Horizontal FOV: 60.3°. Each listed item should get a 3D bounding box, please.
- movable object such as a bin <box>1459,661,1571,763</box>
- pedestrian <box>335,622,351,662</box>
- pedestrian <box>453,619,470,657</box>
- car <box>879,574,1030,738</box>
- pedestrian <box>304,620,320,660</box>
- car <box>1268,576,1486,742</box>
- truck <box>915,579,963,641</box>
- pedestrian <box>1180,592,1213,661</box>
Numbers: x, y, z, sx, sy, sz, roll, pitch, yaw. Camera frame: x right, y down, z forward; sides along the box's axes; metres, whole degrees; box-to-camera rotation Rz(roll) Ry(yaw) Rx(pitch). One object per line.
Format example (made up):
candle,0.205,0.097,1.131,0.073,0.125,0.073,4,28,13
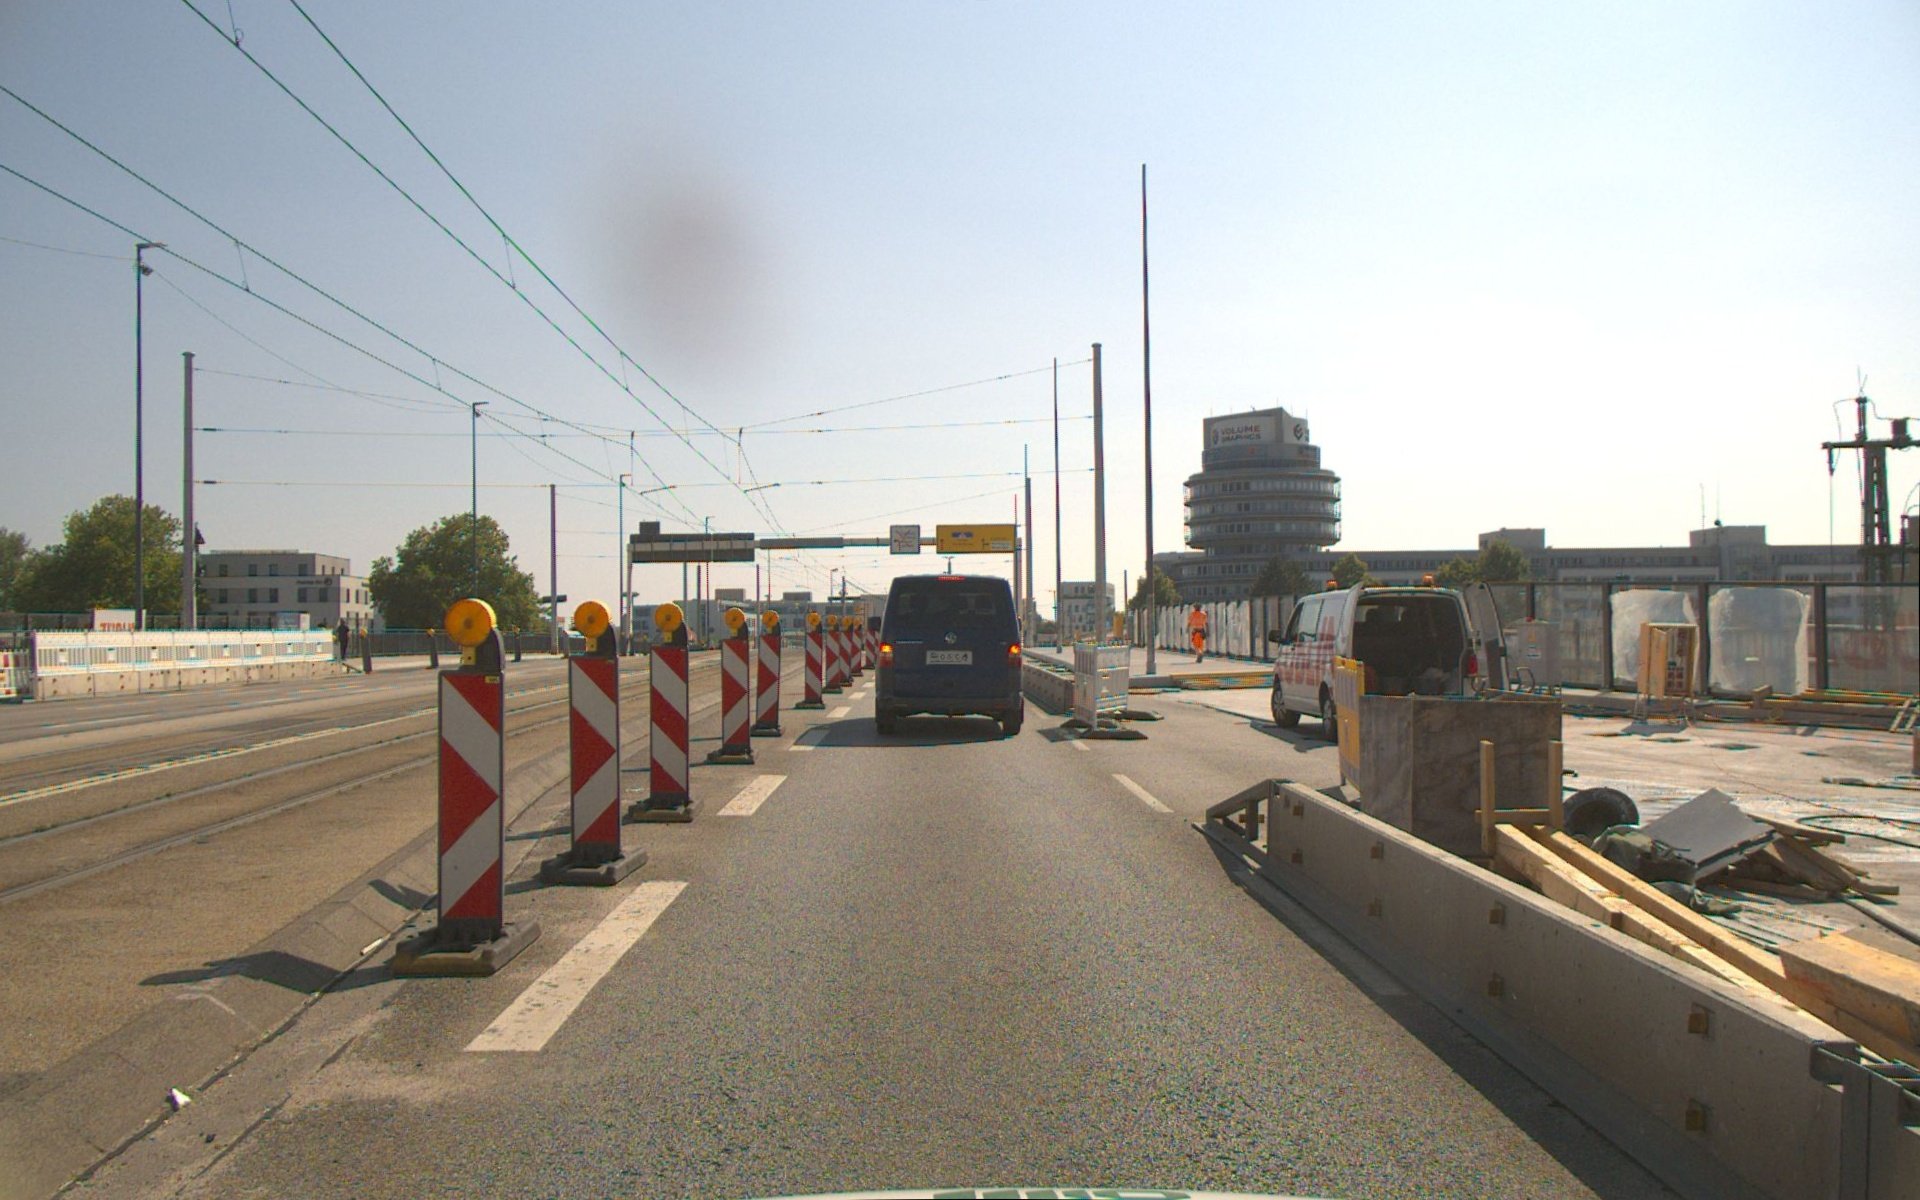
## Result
movable object such as a bin,6.334,1.257,18.890,0.885,1.093,0.927,1,-1,-45
pedestrian,-26.503,1.813,71.000,0.485,1.724,0.474,0,-2,-1
pedestrian,-25.217,1.905,83.670,0.621,1.927,0.752,0,-1,-1
car,-0.127,0.672,21.810,1.779,1.939,4.053,-1,0,-2
pedestrian,-27.737,1.722,70.770,0.485,1.724,0.474,0,-2,-1
car,5.676,0.788,23.159,1.840,2.069,4.890,0,-1,0
truck,-1.202,0.521,91.485,2.410,3.189,11.212,-1,0,-1
pedestrian,6.903,0.770,48.264,0.766,1.969,0.799,-2,-2,-1
